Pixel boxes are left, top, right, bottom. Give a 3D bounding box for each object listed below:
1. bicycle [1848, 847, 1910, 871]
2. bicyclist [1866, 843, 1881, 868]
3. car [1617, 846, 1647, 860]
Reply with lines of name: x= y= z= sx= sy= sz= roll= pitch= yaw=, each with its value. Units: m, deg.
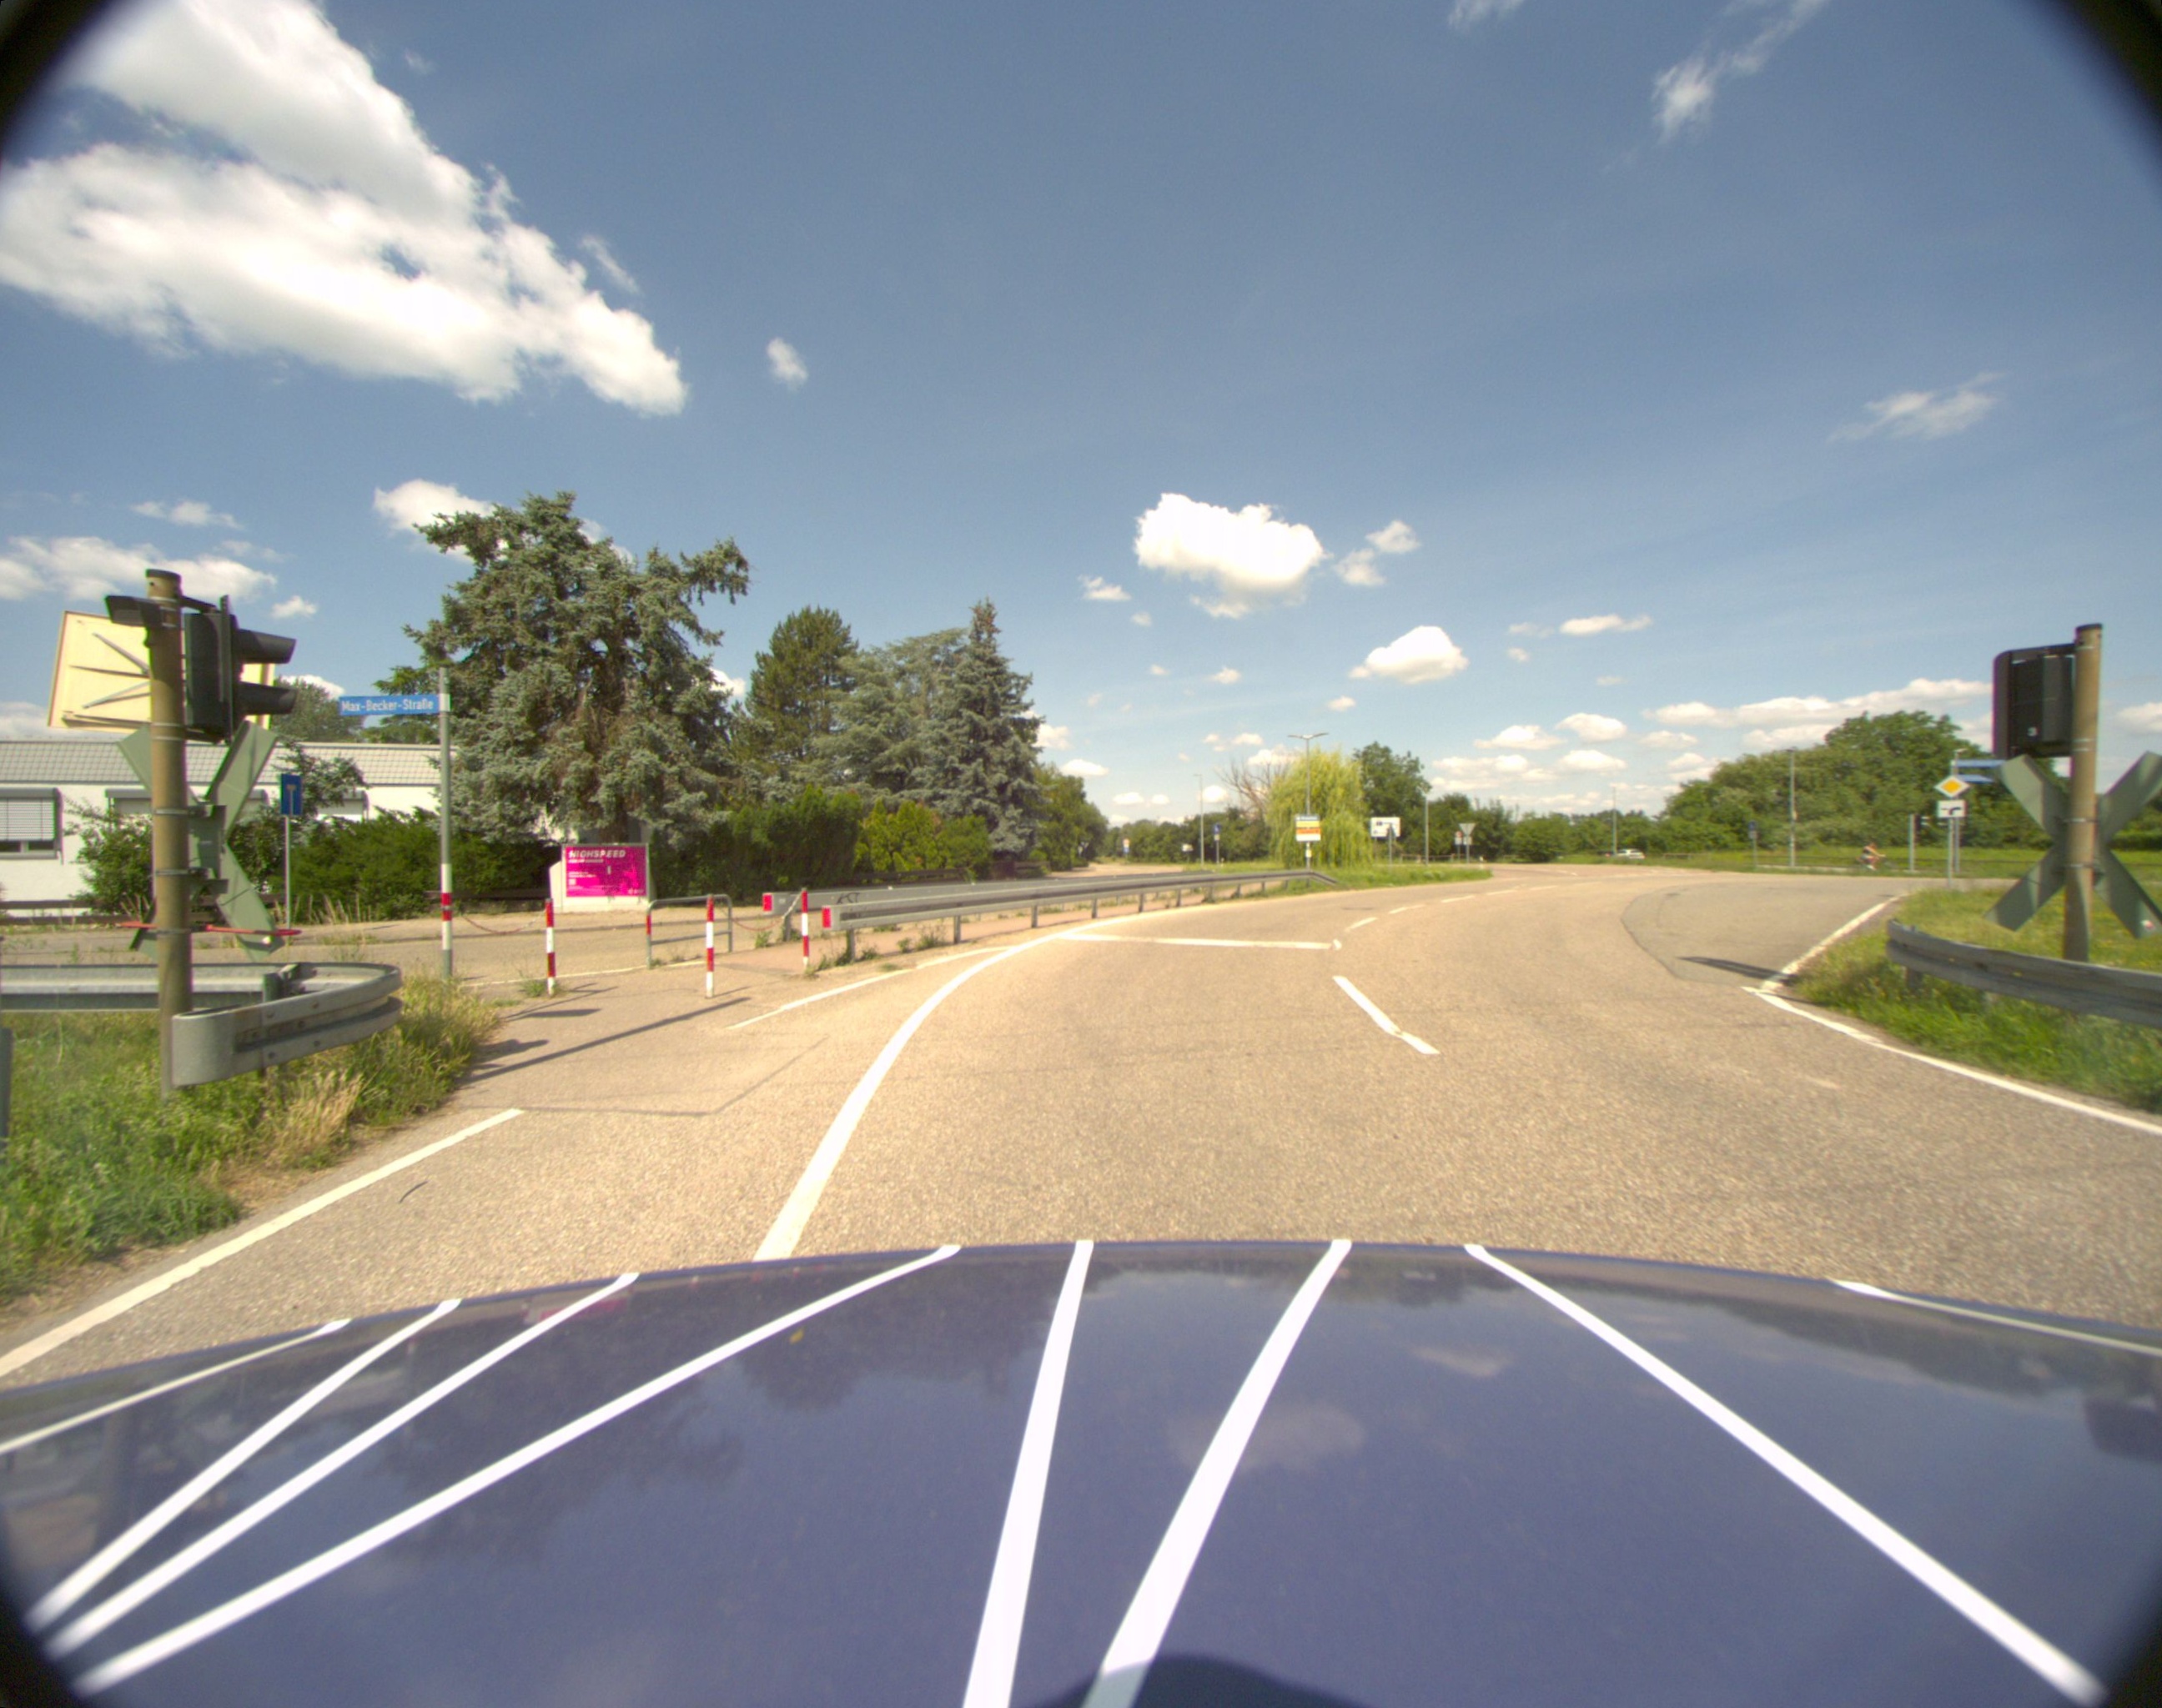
bicycle: x=40.176 y=0.252 z=38.274 sx=0.662 sy=1.158 sz=2.140 roll=-1 pitch=0 yaw=-42
bicyclist: x=39.996 y=0.078 z=38.365 sx=0.470 sy=1.248 sz=0.510 roll=-1 pitch=0 yaw=-42
car: x=63.368 y=-0.090 z=87.477 sx=1.417 sy=1.495 sz=3.120 roll=-1 pitch=-1 yaw=6
